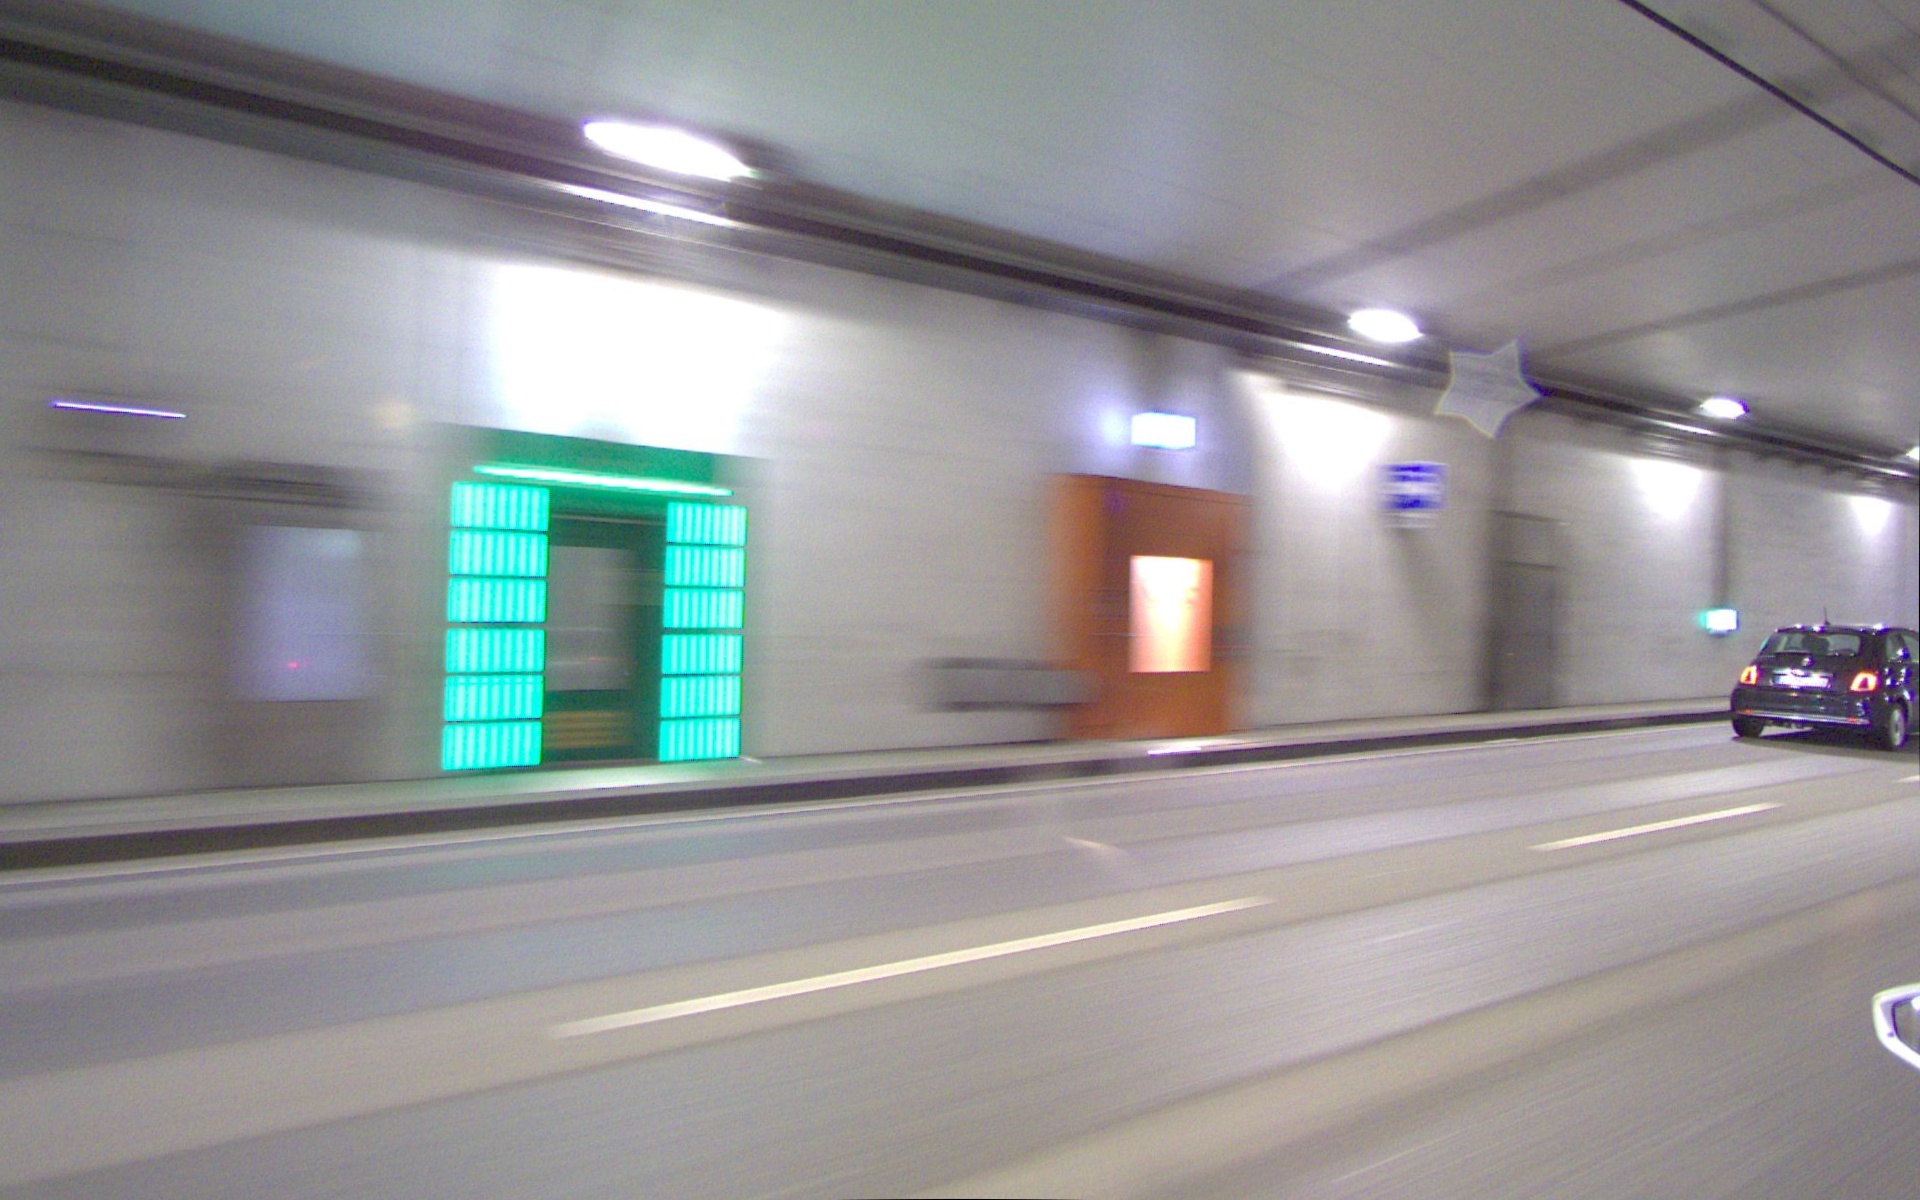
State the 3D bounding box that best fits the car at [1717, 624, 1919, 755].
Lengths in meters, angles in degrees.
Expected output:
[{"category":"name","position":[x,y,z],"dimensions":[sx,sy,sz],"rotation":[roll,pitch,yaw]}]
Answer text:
[{"category":"car","position":[11.508,1.052,12.916],"dimensions":[3.531,1.473,1.605],"rotation":[1,-2,-30]}]
